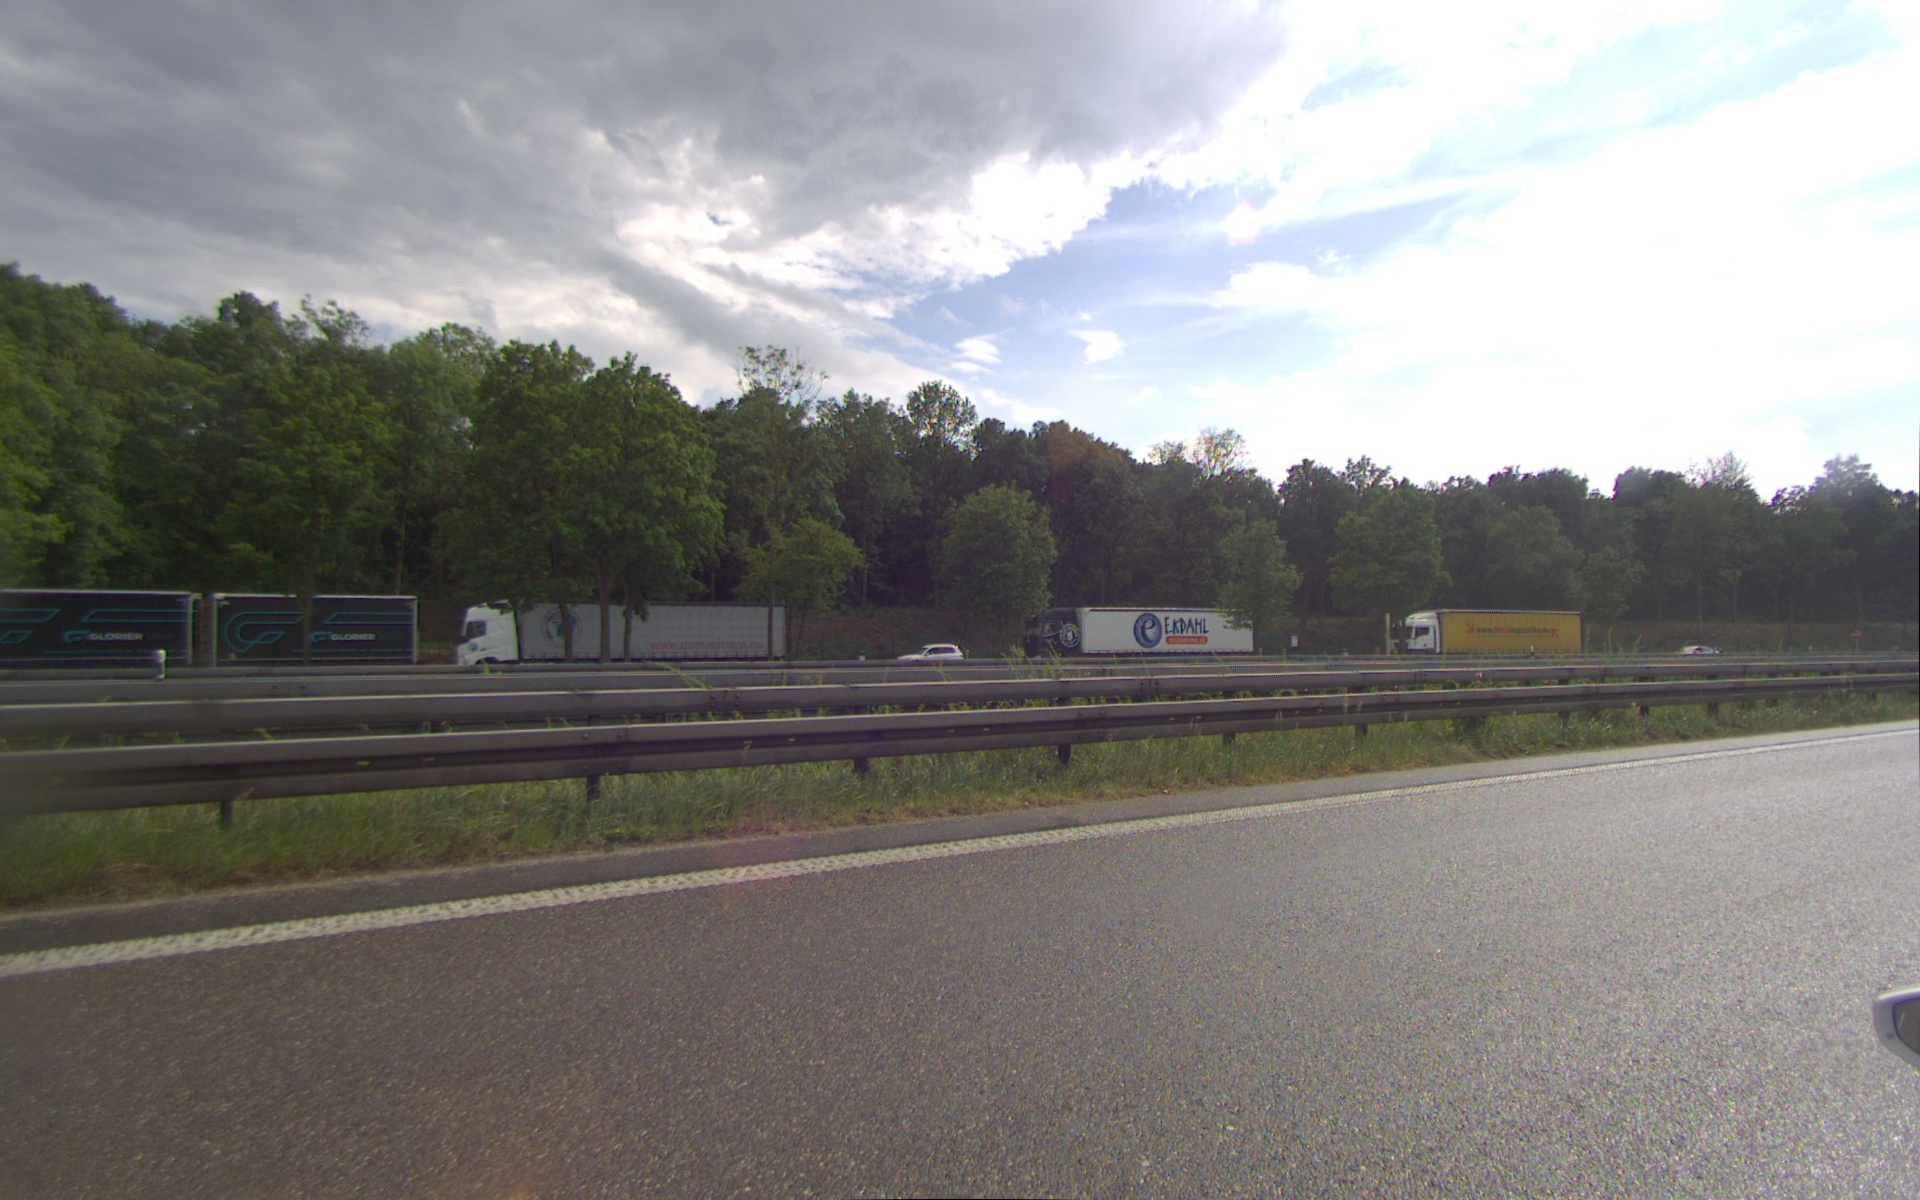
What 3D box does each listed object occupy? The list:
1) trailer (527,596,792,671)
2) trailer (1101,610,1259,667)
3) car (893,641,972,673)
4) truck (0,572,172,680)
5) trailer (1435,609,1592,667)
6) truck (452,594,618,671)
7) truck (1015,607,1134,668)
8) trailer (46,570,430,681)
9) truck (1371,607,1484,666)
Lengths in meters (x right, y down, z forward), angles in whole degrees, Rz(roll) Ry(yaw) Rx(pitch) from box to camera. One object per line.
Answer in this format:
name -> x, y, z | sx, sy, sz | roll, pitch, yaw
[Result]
trailer -> -15.961, 1.807, 54.130 | 13.187, 3.697, 3.771 | 1, -2, -30
trailer -> 15.031, 2.619, 68.580 | 10.349, 3.697, 3.780 | 1, -1, -24
car -> -1.642, 3.452, 60.957 | 4.313, 1.741, 2.050 | 2, 0, -28
truck -> -38.356, 1.038, 41.676 | 8.319, 4.290, 3.770 | 2, 0, -30
trailer -> 43.306, 2.998, 78.604 | 11.537, 4.171, 3.786 | 2, 0, -17
truck -> -21.515, 1.633, 50.907 | 7.269, 3.637, 3.770 | 2, 0, -30
truck -> 7.398, 2.413, 65.091 | 6.615, 3.709, 3.776 | 2, 0, -25
trailer -> -31.821, 1.193, 45.564 | 13.637, 4.464, 3.771 | 1, -2, -30
truck -> 35.385, 2.741, 76.145 | 6.932, 4.171, 3.786 | 2, 0, -17
